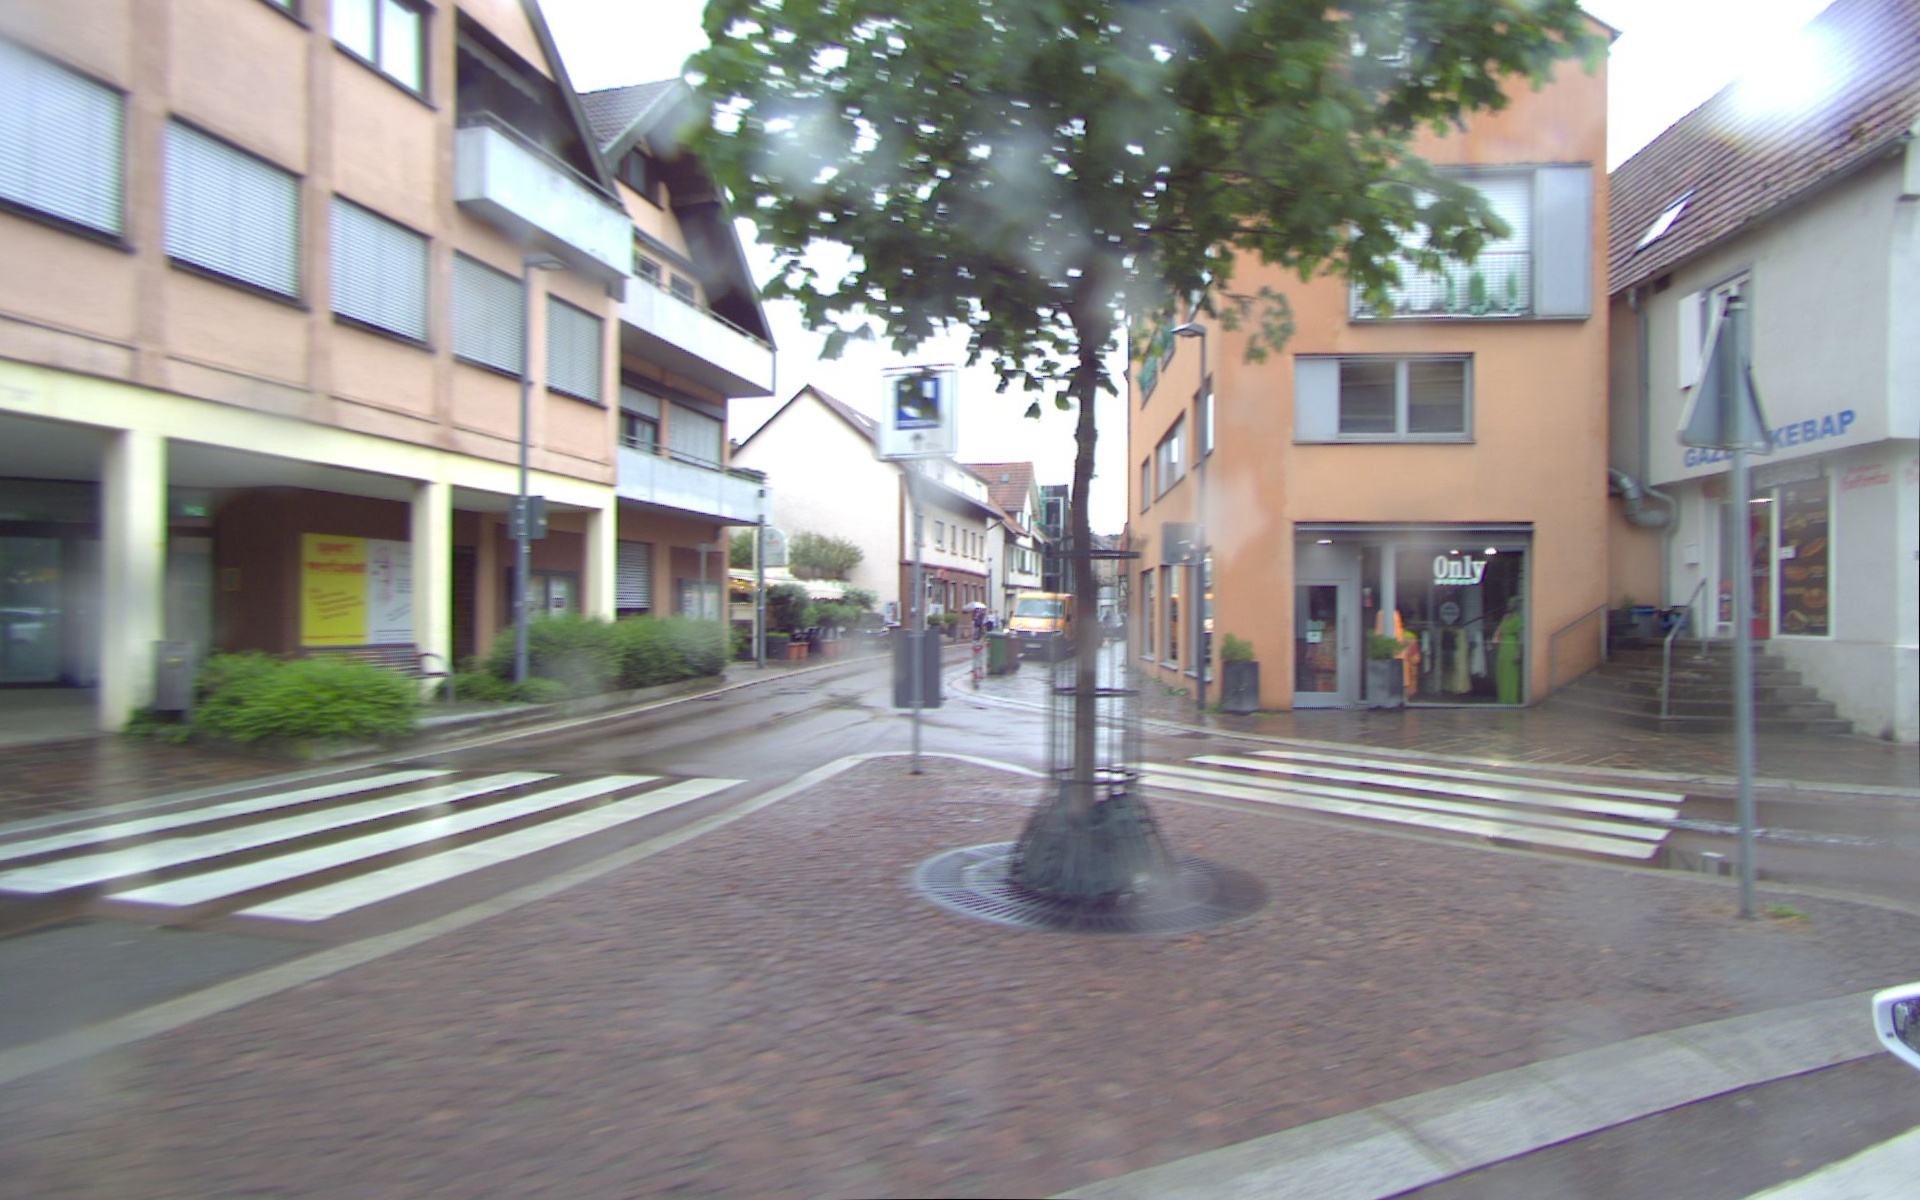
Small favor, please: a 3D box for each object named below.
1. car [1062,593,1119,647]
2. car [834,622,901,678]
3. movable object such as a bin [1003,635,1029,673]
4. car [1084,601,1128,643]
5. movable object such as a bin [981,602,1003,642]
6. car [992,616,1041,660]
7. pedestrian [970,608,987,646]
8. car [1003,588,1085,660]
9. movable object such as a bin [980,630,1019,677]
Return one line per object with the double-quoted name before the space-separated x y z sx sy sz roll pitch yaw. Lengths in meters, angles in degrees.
"car" 6.244 0.935 47.575 2.166 2.329 5.964 2 -1 12
"car" -3.745 1.945 39.960 1.967 2.040 3.846 2 -1 -15
"movable object such as a bin" 1.578 1.527 28.457 0.641 1.013 0.586 2 0 -3
"car" 8.745 1.305 59.697 2.166 2.329 5.964 2 -1 12
"movable object such as a bin" 1.692 1.166 53.068 0.992 2.040 0.828 2 0 9
"car" 2.879 1.838 50.030 1.959 2.040 4.398 2 -1 9
"pedestrian" 0.906 1.335 49.048 0.739 1.817 0.802 2 0 1
"car" 3.141 0.848 36.282 2.166 2.329 5.964 2 -1 12
"movable object such as a bin" 1.031 1.383 26.254 0.931 1.174 0.774 2 0 -4
